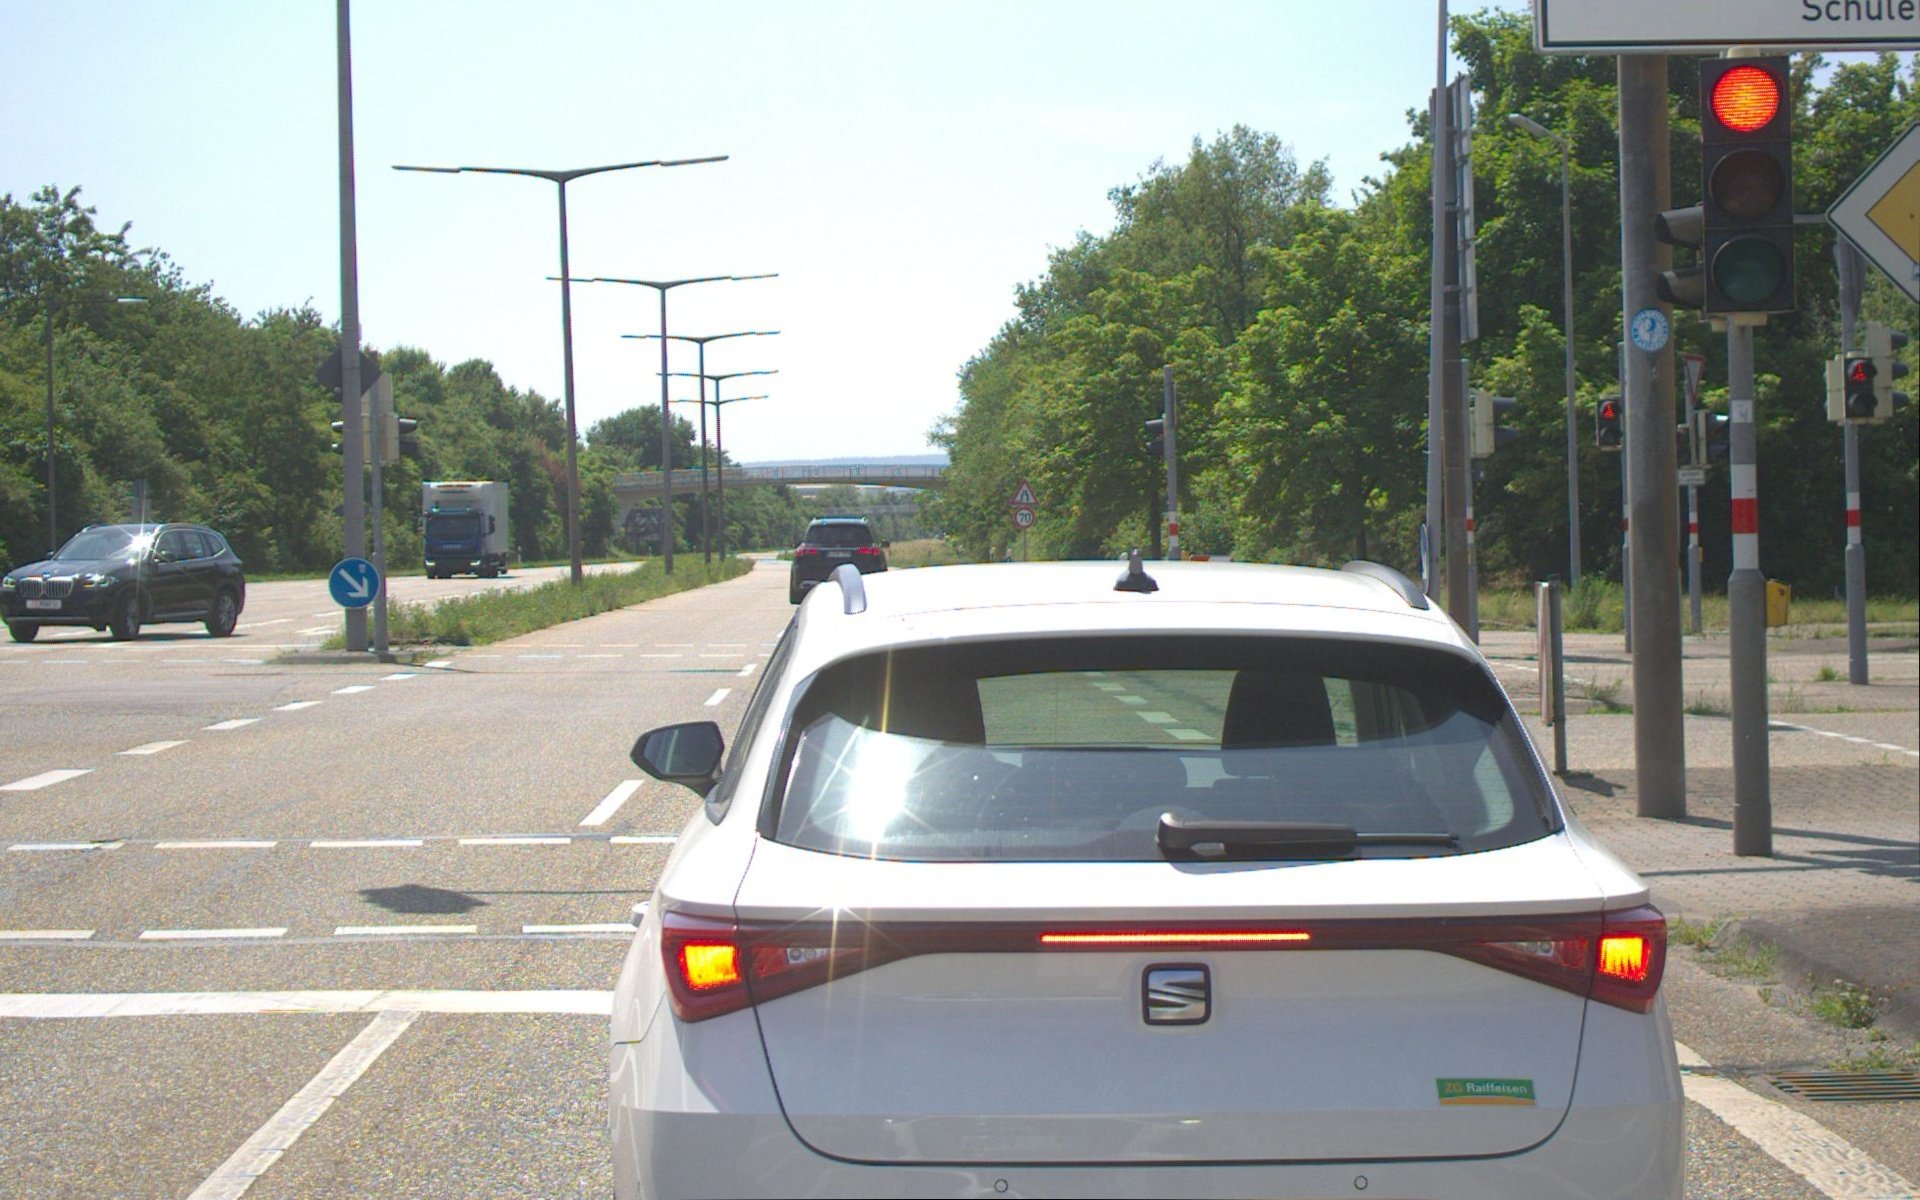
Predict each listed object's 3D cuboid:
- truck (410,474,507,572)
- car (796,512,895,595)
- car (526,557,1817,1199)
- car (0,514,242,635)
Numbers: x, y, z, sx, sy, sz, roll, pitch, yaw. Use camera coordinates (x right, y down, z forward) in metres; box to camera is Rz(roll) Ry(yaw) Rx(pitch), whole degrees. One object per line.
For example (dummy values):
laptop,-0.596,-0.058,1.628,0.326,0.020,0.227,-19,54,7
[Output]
truck,-18.692,-2.886,128.478,2.687,3.558,7.268,0,1,-1
car,-2.425,-1.015,73.689,1.855,1.703,4.000,-1,1,1
car,0.262,0.647,6.495,1.734,1.423,3.695,1,1,-1
car,-12.238,-0.401,50.206,1.708,1.657,4.220,-1,1,15
